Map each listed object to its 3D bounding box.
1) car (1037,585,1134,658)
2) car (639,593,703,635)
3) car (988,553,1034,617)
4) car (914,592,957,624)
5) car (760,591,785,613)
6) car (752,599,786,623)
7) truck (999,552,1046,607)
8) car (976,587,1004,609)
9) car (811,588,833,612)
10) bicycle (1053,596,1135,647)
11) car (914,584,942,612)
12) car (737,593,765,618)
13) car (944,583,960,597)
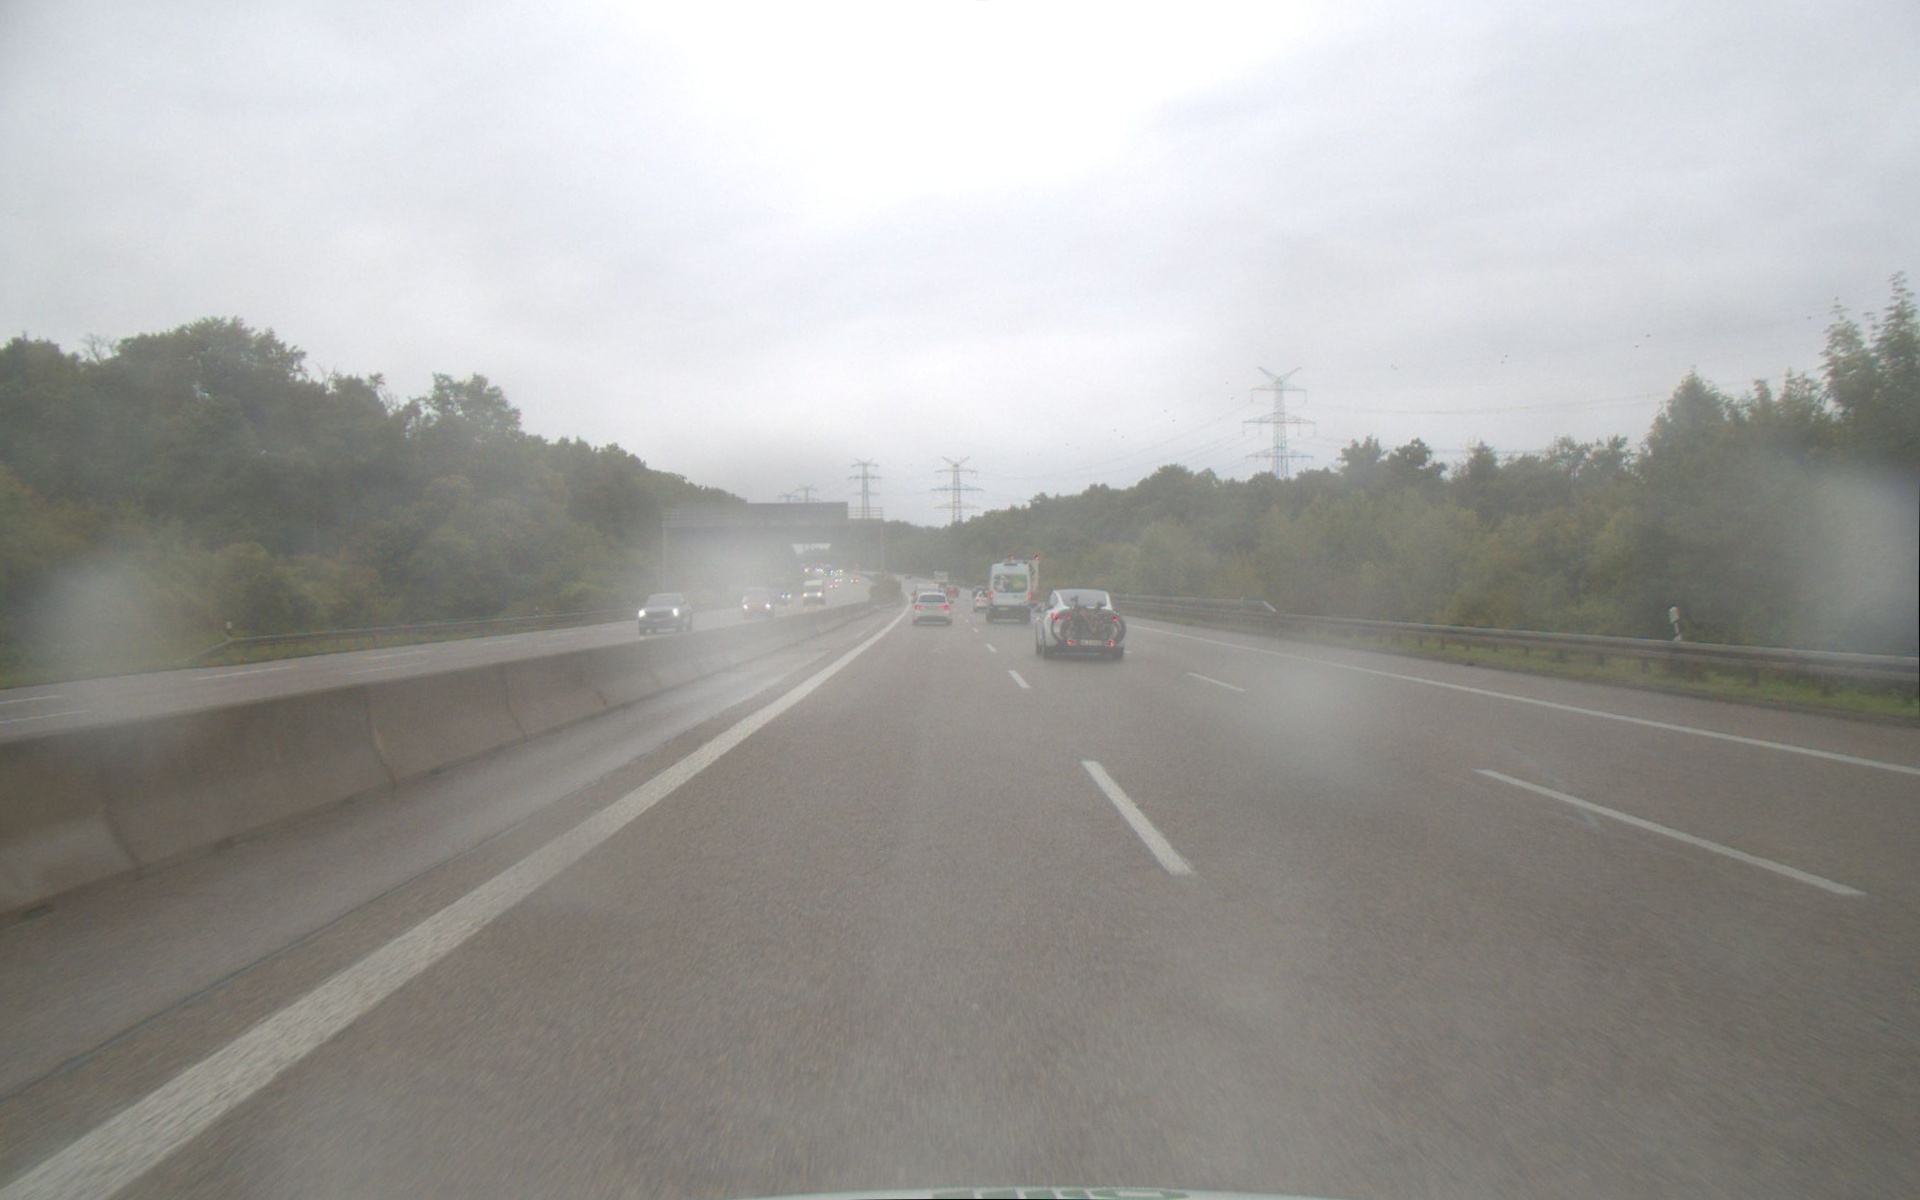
[{"bbox_3d":[2.912,0.463,39.420,1.822,1.595,4.963,0,1,-1],"label":"car"},{"bbox_3d":[-12.483,0.572,71.646,1.953,1.717,4.916,-1,0,-1],"label":"car"},{"bbox_3d":[2.417,-0.716,79.263,1.953,2.914,4.000,-3,0,0],"label":"car"},{"bbox_3d":[-1.098,0.337,73.121,1.829,1.310,3.999,-1,0,-1],"label":"car"},{"bbox_3d":[-19.910,0.200,175.849,1.953,2.206,6.415,-1,0,-1],"label":"car"},{"bbox_3d":[-11.779,0.658,102.167,1.601,1.436,4.366,-1,0,0],"label":"car"},{"bbox_3d":[5.254,-1.750,141.506,3.529,4.407,13.200,0,1,0],"label":"truck"},{"bbox_3d":[2.036,-0.163,113.157,1.819,1.447,4.000,0,1,-1],"label":"car"},{"bbox_3d":[-14.299,0.000,171.060,2.232,2.372,6.168,-1,0,-5],"label":"car"},{"bbox_3d":[2.942,0.475,36.443,1.718,1.109,0.913,0,-1,-2],"label":"bicycle"},{"bbox_3d":[-2.110,-0.141,108.589,1.809,1.803,3.999,1,0,-1],"label":"car"},{"bbox_3d":[-16.601,0.442,131.419,1.706,1.937,4.529,-1,0,-1],"label":"car"},{"bbox_3d":[-1.067,-1.284,213.132,1.953,1.601,3.999,-2,0,-2],"label":"car"}]
